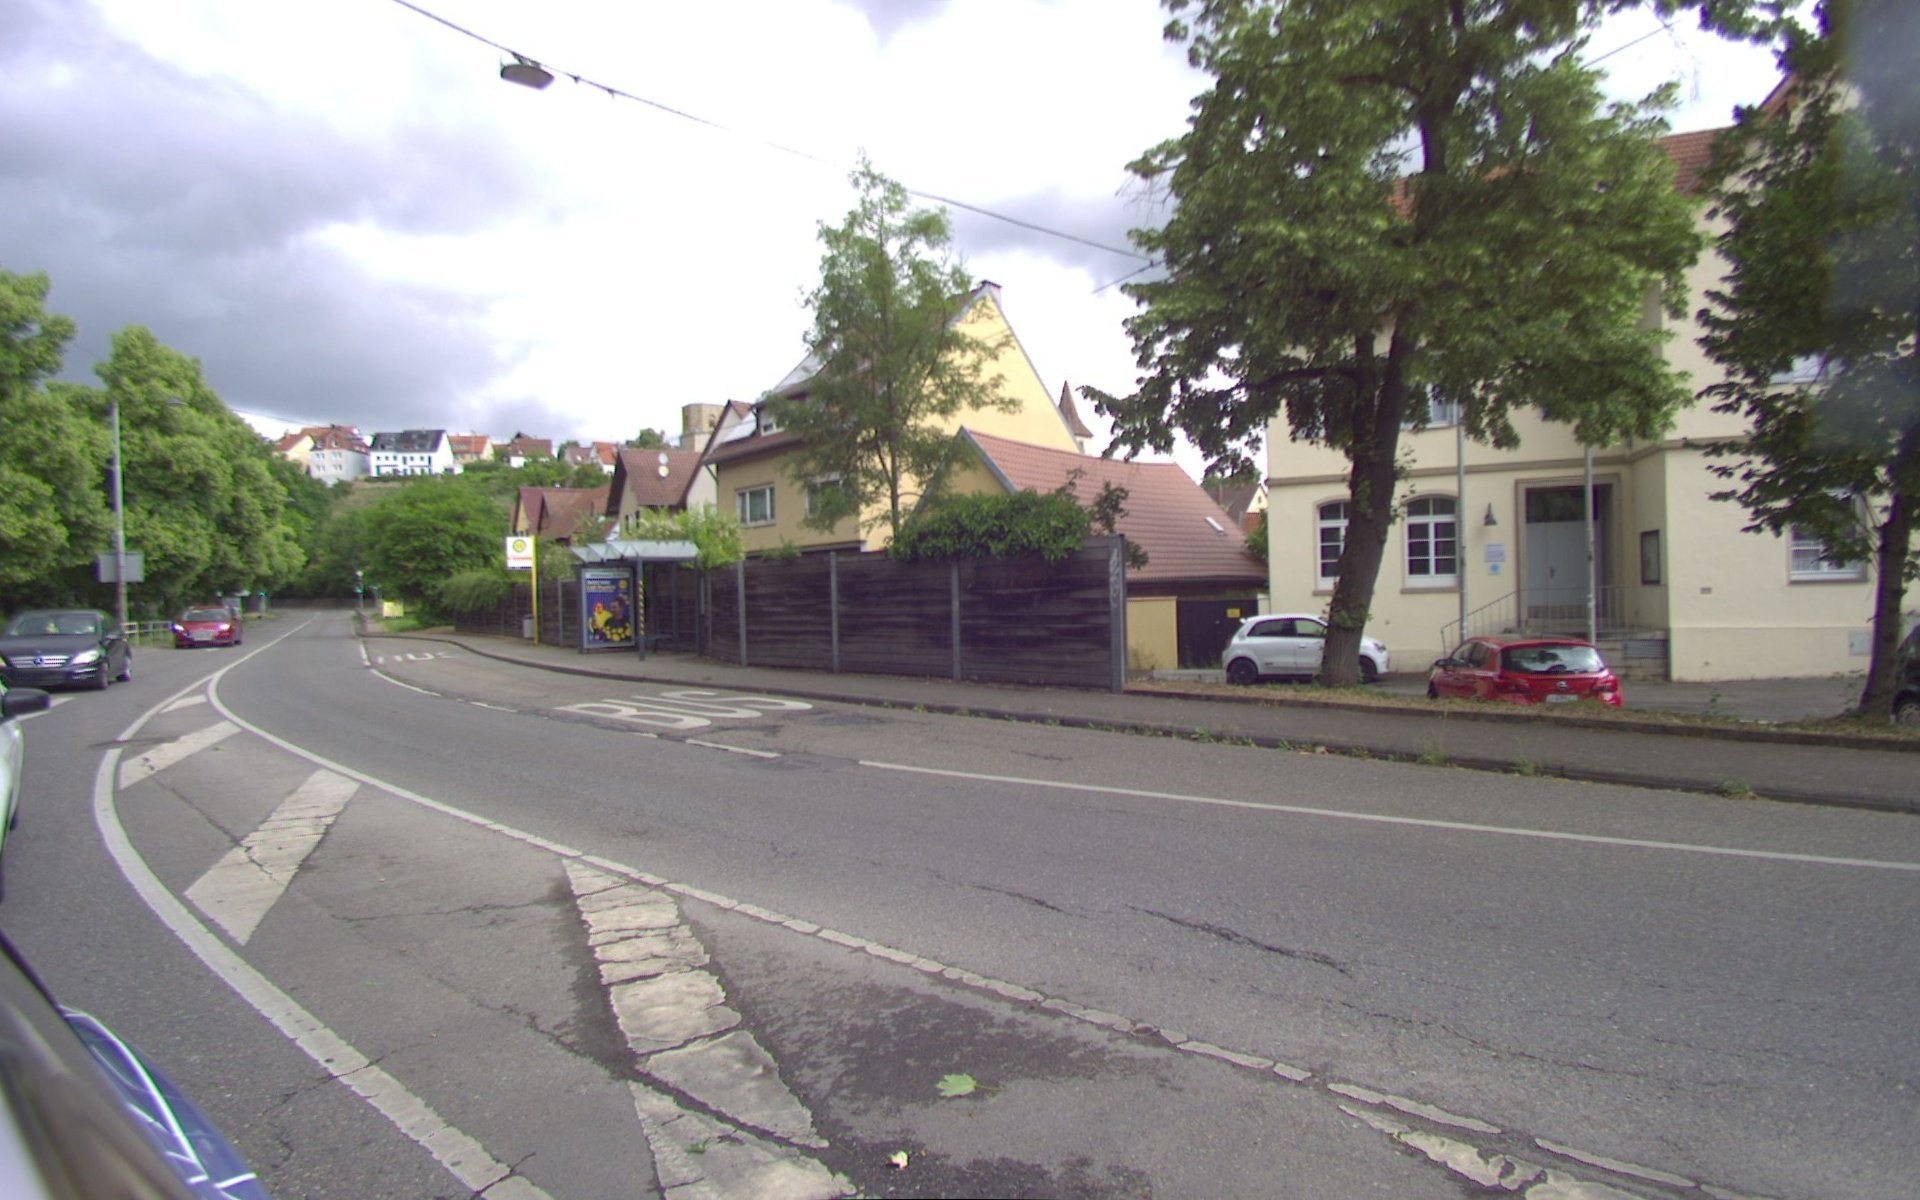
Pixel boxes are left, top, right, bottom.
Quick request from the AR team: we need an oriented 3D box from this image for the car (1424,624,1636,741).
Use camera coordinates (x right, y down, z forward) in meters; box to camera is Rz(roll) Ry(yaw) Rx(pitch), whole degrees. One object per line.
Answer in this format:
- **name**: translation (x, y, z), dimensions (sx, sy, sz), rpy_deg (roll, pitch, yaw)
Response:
- **car**: translation (8.128, 1.102, 14.773), dimensions (1.590, 1.389, 3.544), rpy_deg (-1, 0, 10)

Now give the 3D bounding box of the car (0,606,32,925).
- **car**: translation (-6.199, 0.816, 5.477), dimensions (1.594, 1.525, 3.610), rpy_deg (-1, 0, -41)

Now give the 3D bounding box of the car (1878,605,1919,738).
- **car**: translation (12.701, 0.887, 11.589), dimensions (1.586, 1.644, 3.093), rpy_deg (-1, 0, 2)

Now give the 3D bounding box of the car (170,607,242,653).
- **car**: translation (-30.136, 1.147, 40.563), dimensions (1.798, 1.685, 4.070), rpy_deg (-1, 0, -30)

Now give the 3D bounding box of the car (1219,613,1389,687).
- **car**: translation (7.749, 1.106, 22.928), dimensions (3.487, 1.528, 1.581), rpy_deg (-1, 0, 20)

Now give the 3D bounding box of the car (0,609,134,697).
- **car**: translation (-17.723, 0.966, 19.942), dimensions (1.696, 1.559, 3.793), rpy_deg (-1, 0, -31)
